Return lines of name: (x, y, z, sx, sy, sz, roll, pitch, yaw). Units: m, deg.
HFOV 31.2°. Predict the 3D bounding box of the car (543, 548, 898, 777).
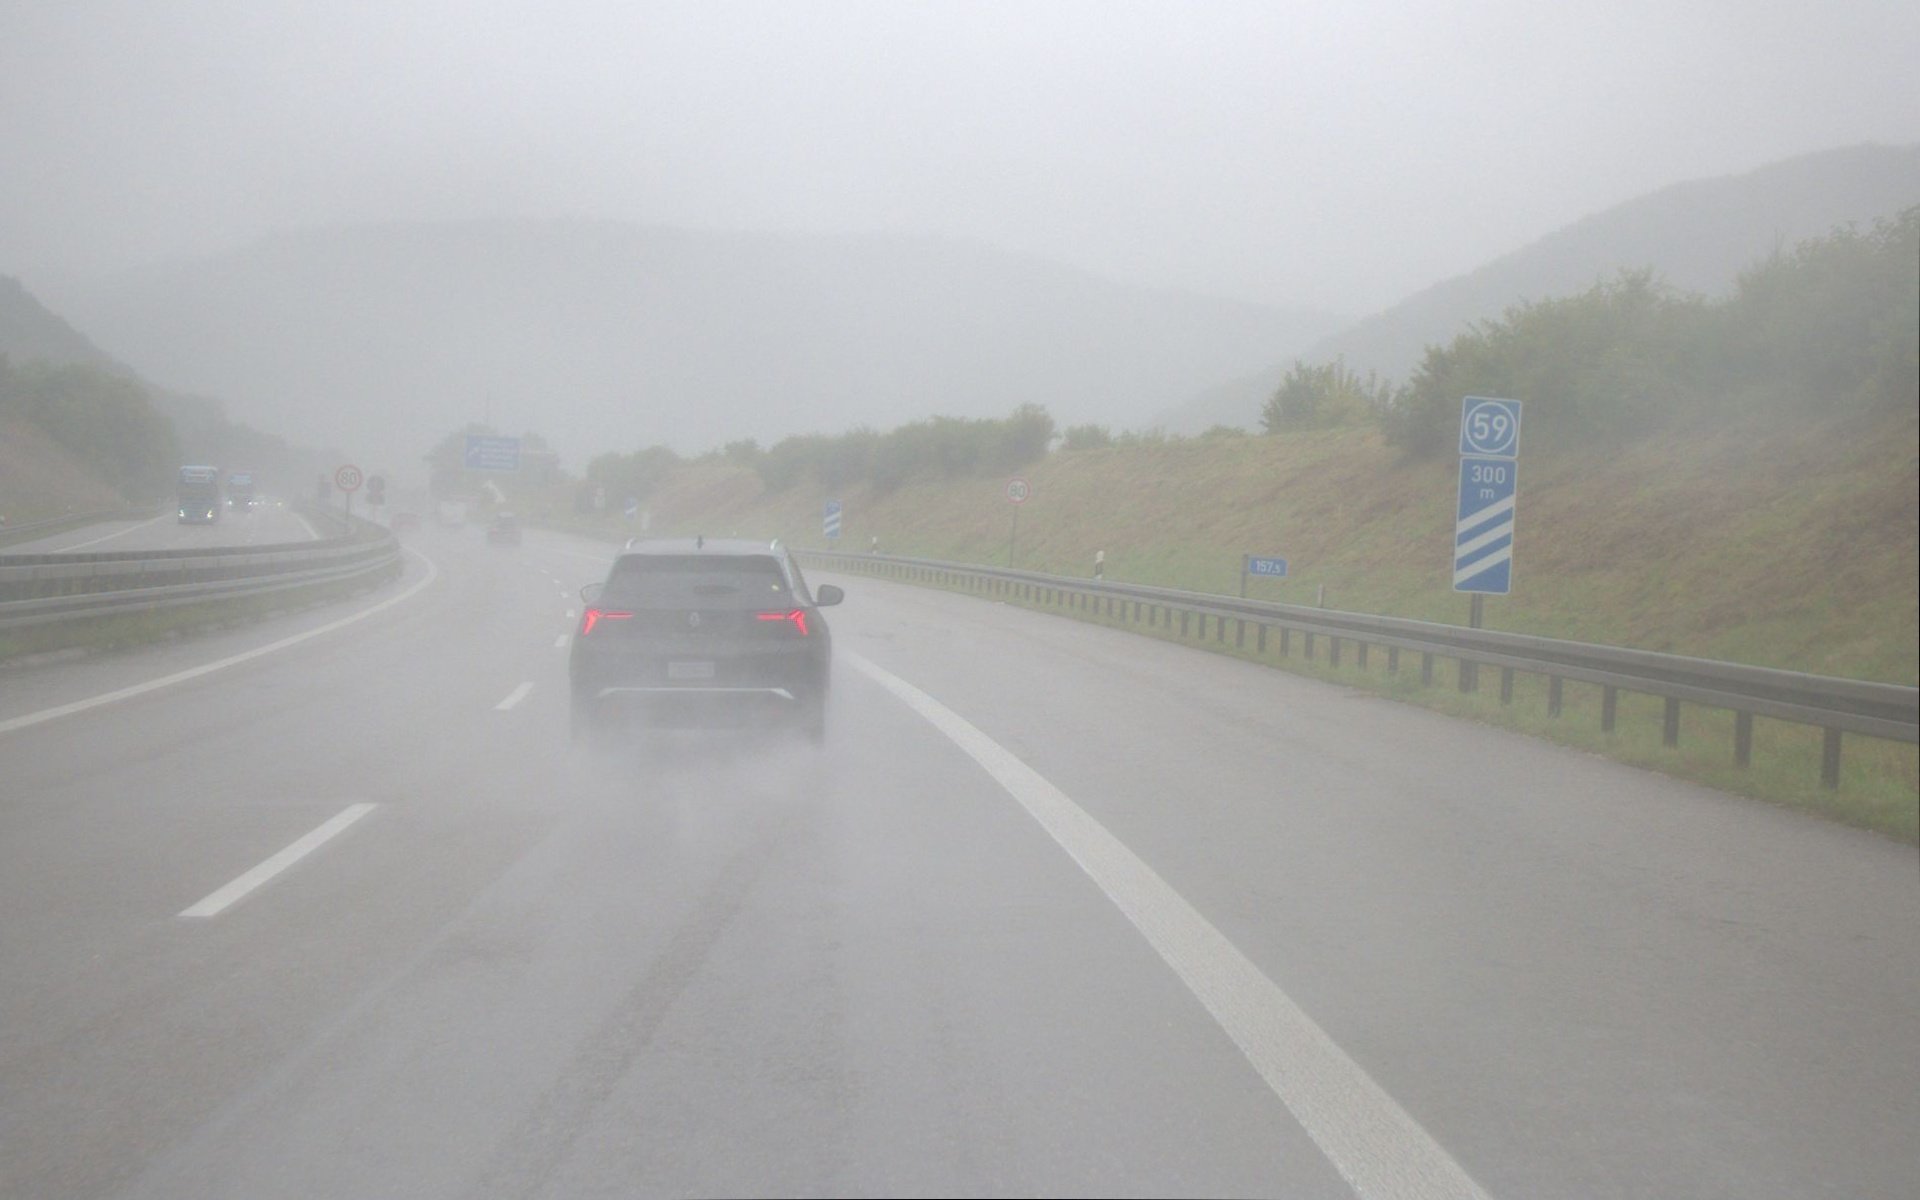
car: (-1.805, 0.425, 26.203, 2.406, 1.510, 4.784, 2, 0, -4)
